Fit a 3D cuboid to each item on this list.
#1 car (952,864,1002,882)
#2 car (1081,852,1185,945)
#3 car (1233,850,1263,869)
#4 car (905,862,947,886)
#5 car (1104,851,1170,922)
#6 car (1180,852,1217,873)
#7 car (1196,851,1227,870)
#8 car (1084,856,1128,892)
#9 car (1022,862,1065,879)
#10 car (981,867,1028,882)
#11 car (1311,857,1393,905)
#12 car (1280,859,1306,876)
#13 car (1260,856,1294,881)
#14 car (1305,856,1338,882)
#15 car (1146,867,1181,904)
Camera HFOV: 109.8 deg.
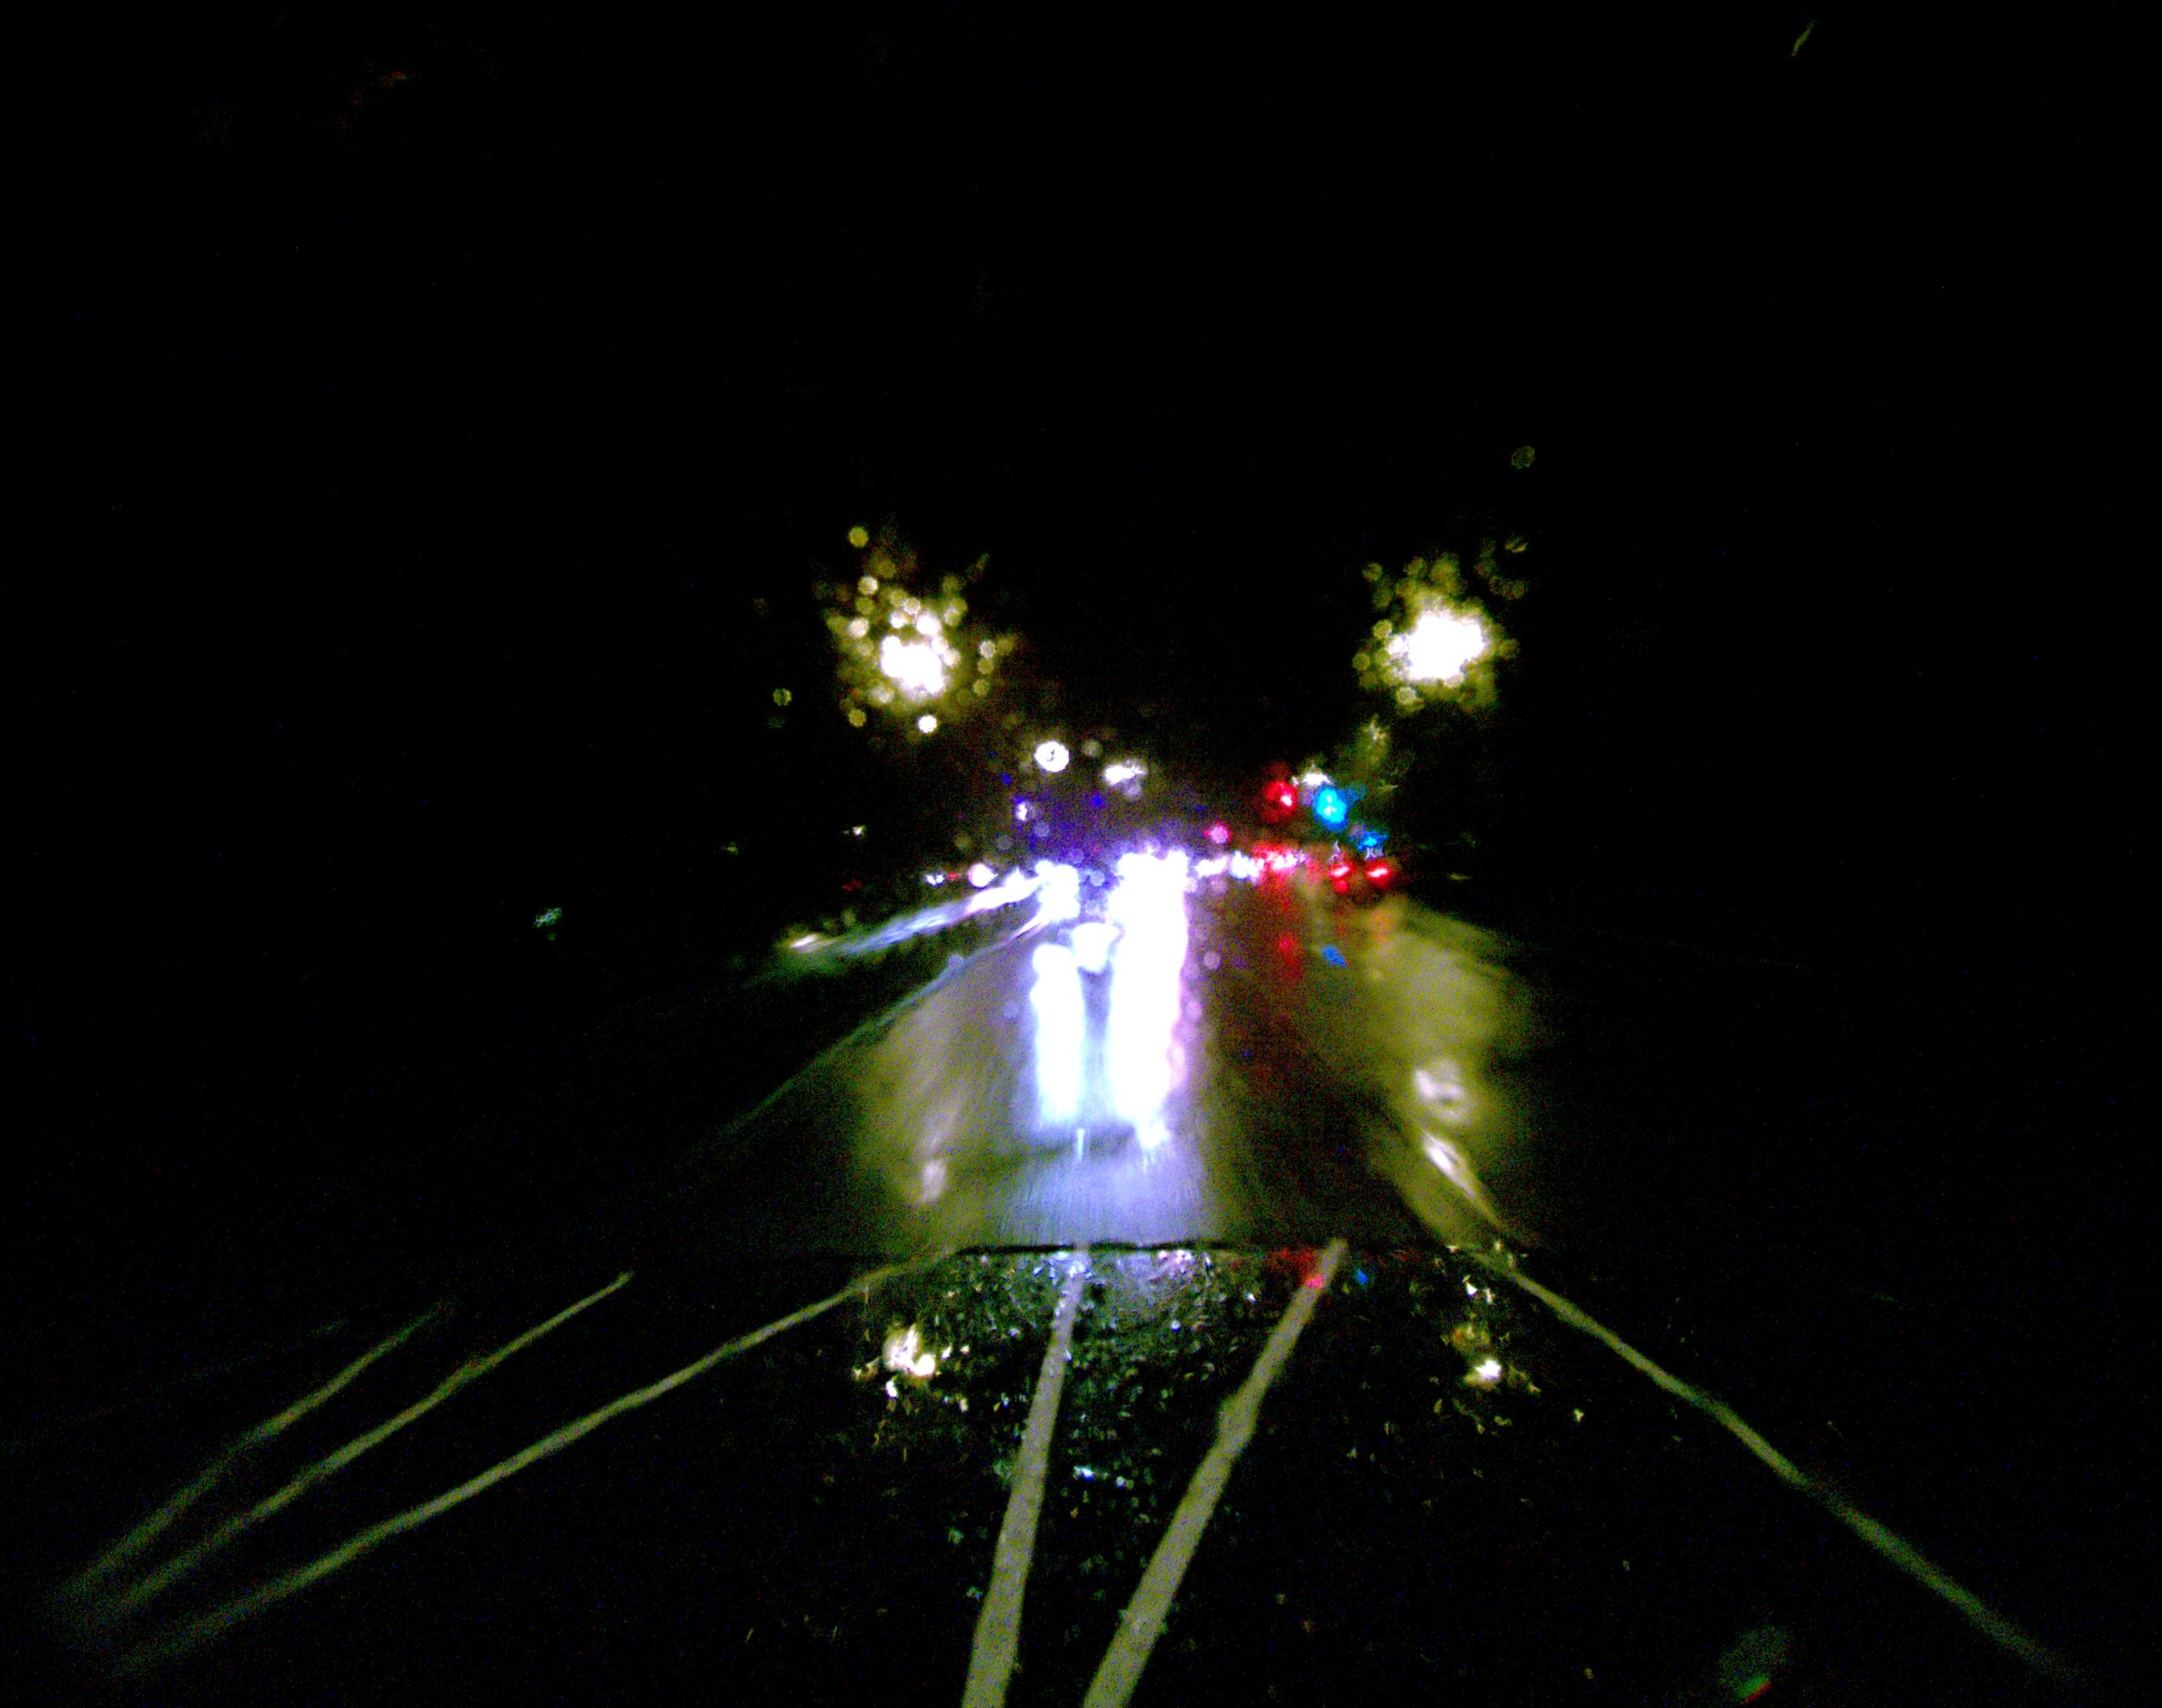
[{"bbox_3d":[-10.184,1.851,74.592,4.769,1.630,2.004,-1,0,36],"label":"car"},{"bbox_3d":[1.032,0.822,16.224,1.927,1.704,4.239,0,1,2],"label":"car"},{"bbox_3d":[18.591,0.618,84.300,1.865,2.001,4.008,-2,-1,33],"label":"car"},{"bbox_3d":[-15.920,2.103,78.138,3.990,2.002,1.766,-6,2,37],"label":"car"},{"bbox_3d":[1.834,0.993,25.368,1.998,2.002,3.999,-2,2,3],"label":"car"},{"bbox_3d":[11.476,0.815,74.062,1.995,2.001,4.008,-2,-1,35],"label":"car"},{"bbox_3d":[14.721,0.745,85.486,1.865,2.001,4.008,-2,-1,35],"label":"car"},{"bbox_3d":[1.286,0.974,38.280,2.046,1.611,4.288,-2,0,3],"label":"car"},{"bbox_3d":[-3.913,1.737,79.640,4.107,1.630,2.004,-1,0,33],"label":"car"},{"bbox_3d":[-7.713,2.022,76.525,4.533,1.400,2.004,-1,0,36],"label":"car"},{"bbox_3d":[8.844,0.829,25.140,1.769,1.419,4.222,0,0,9],"label":"car"},{"bbox_3d":[27.063,1.728,96.937,1.865,2.001,4.008,-2,-1,36],"label":"car"},{"bbox_3d":[14.291,0.990,55.251,2.001,1.665,4.623,-2,0,19],"label":"car"},{"bbox_3d":[14.687,0.881,46.474,1.769,1.508,3.953,-1,0,15],"label":"car"},{"bbox_3d":[4.658,1.736,42.586,1.304,1.520,3.047,-14,0,13],"label":"car"}]
